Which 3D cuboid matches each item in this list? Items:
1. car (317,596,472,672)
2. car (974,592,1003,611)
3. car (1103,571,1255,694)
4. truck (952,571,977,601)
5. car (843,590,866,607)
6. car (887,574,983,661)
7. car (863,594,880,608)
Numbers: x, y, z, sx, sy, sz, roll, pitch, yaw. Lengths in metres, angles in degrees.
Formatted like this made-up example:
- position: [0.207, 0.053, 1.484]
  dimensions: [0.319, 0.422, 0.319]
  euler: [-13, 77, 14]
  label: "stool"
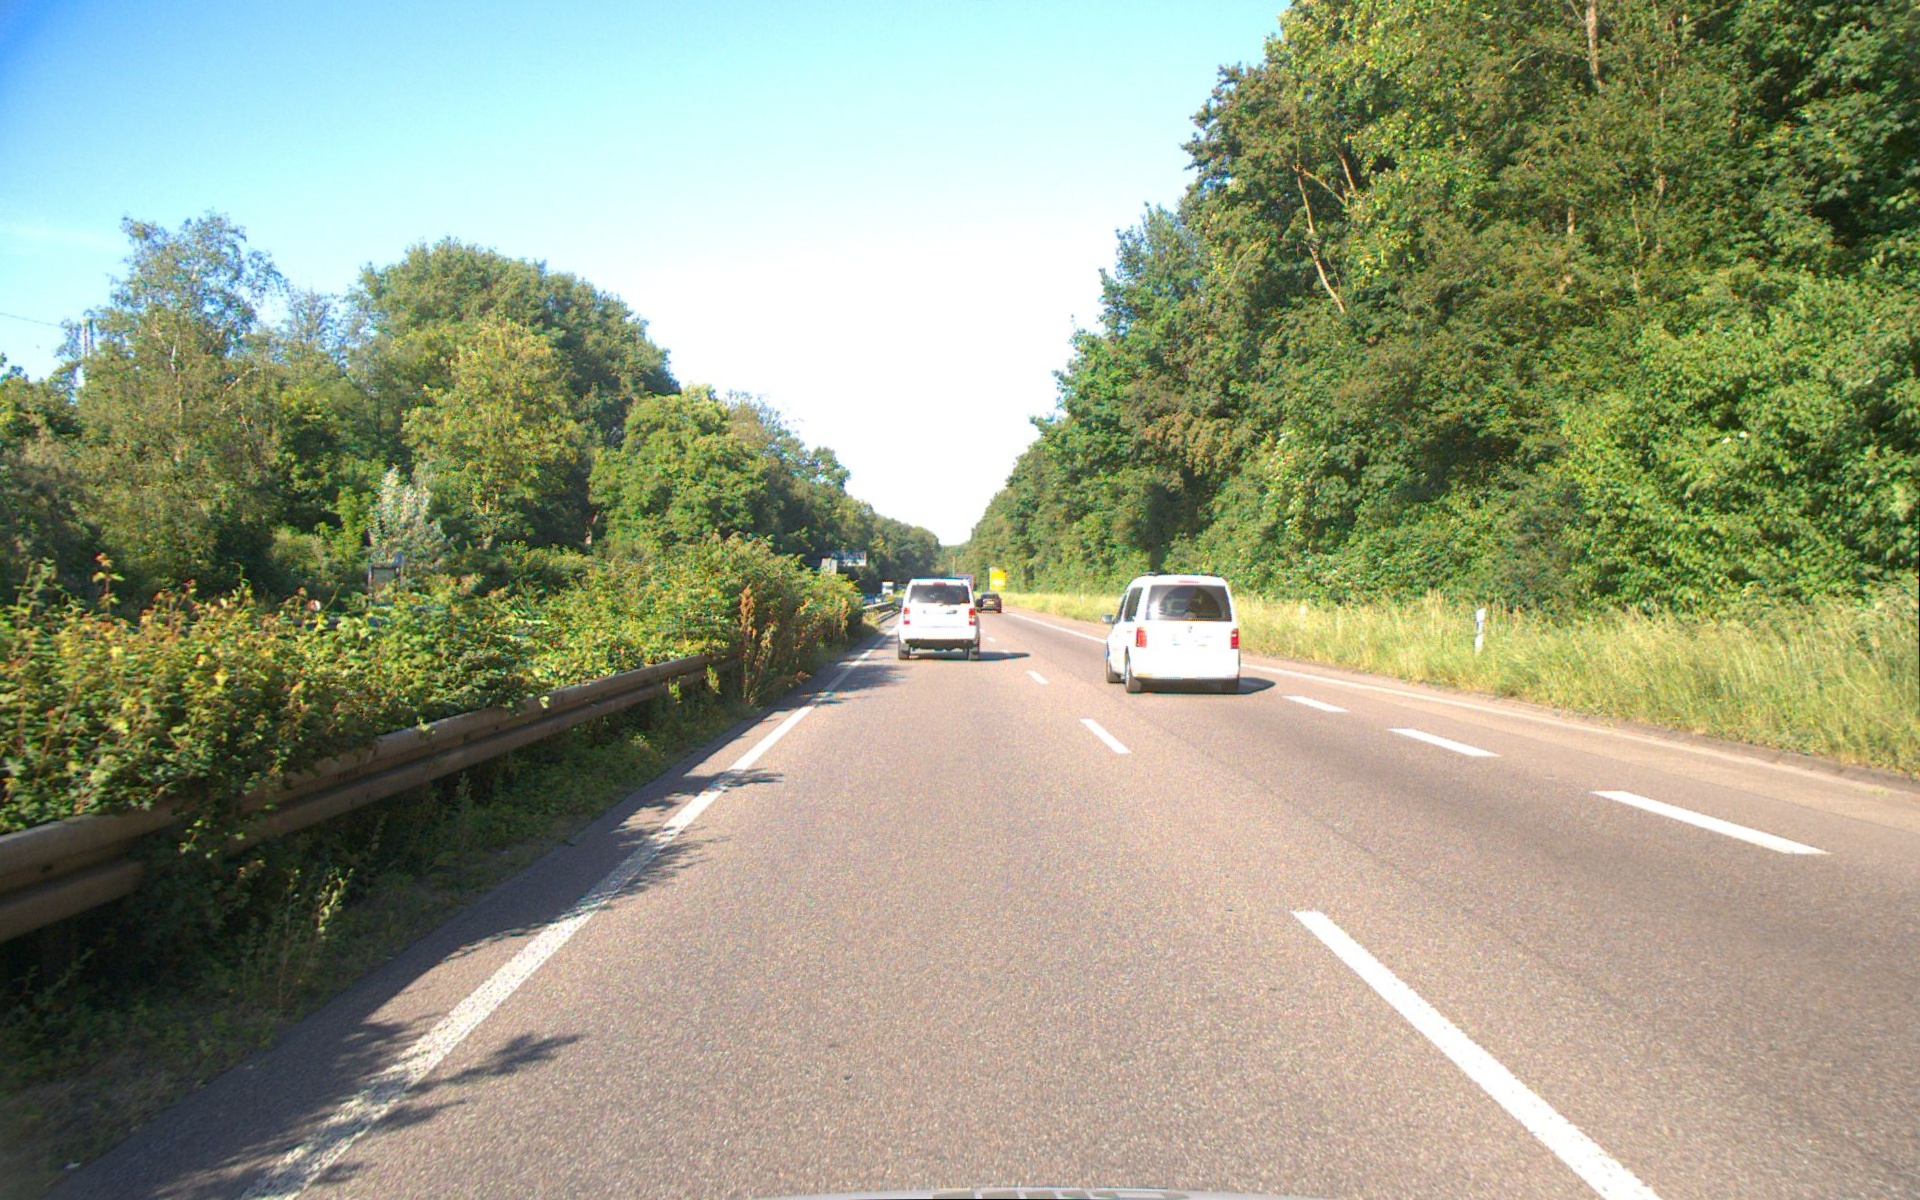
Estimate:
- position: [-11.859, 0.663, 35.013]
  dimensions: [1.921, 1.475, 4.504]
  euler: [0, 0, -3]
  label: "car"
- position: [2.113, 0.104, 123.657]
  dimensions: [1.953, 1.422, 3.999]
  euler: [1, 0, -1]
  label: "car"
- position: [3.438, 0.464, 26.759]
  dimensions: [1.825, 1.801, 4.469]
  euler: [1, 0, -1]
  label: "car"
- position: [0.592, -1.951, 240.646]
  dimensions: [3.425, 4.245, 8.860]
  euler: [-1, 0, -1]
  label: "truck"
- position: [-9.755, -0.151, 153.258]
  dimensions: [1.921, 1.567, 4.464]
  euler: [1, 0, -1]
  label: "car"
- position: [-0.621, 0.361, 37.508]
  dimensions: [2.043, 1.860, 3.998]
  euler: [0, 0, -3]
  label: "car"
- position: [-10.398, 0.088, 195.008]
  dimensions: [1.839, 1.567, 4.463]
  euler: [0, 0, -1]
  label: "car"
